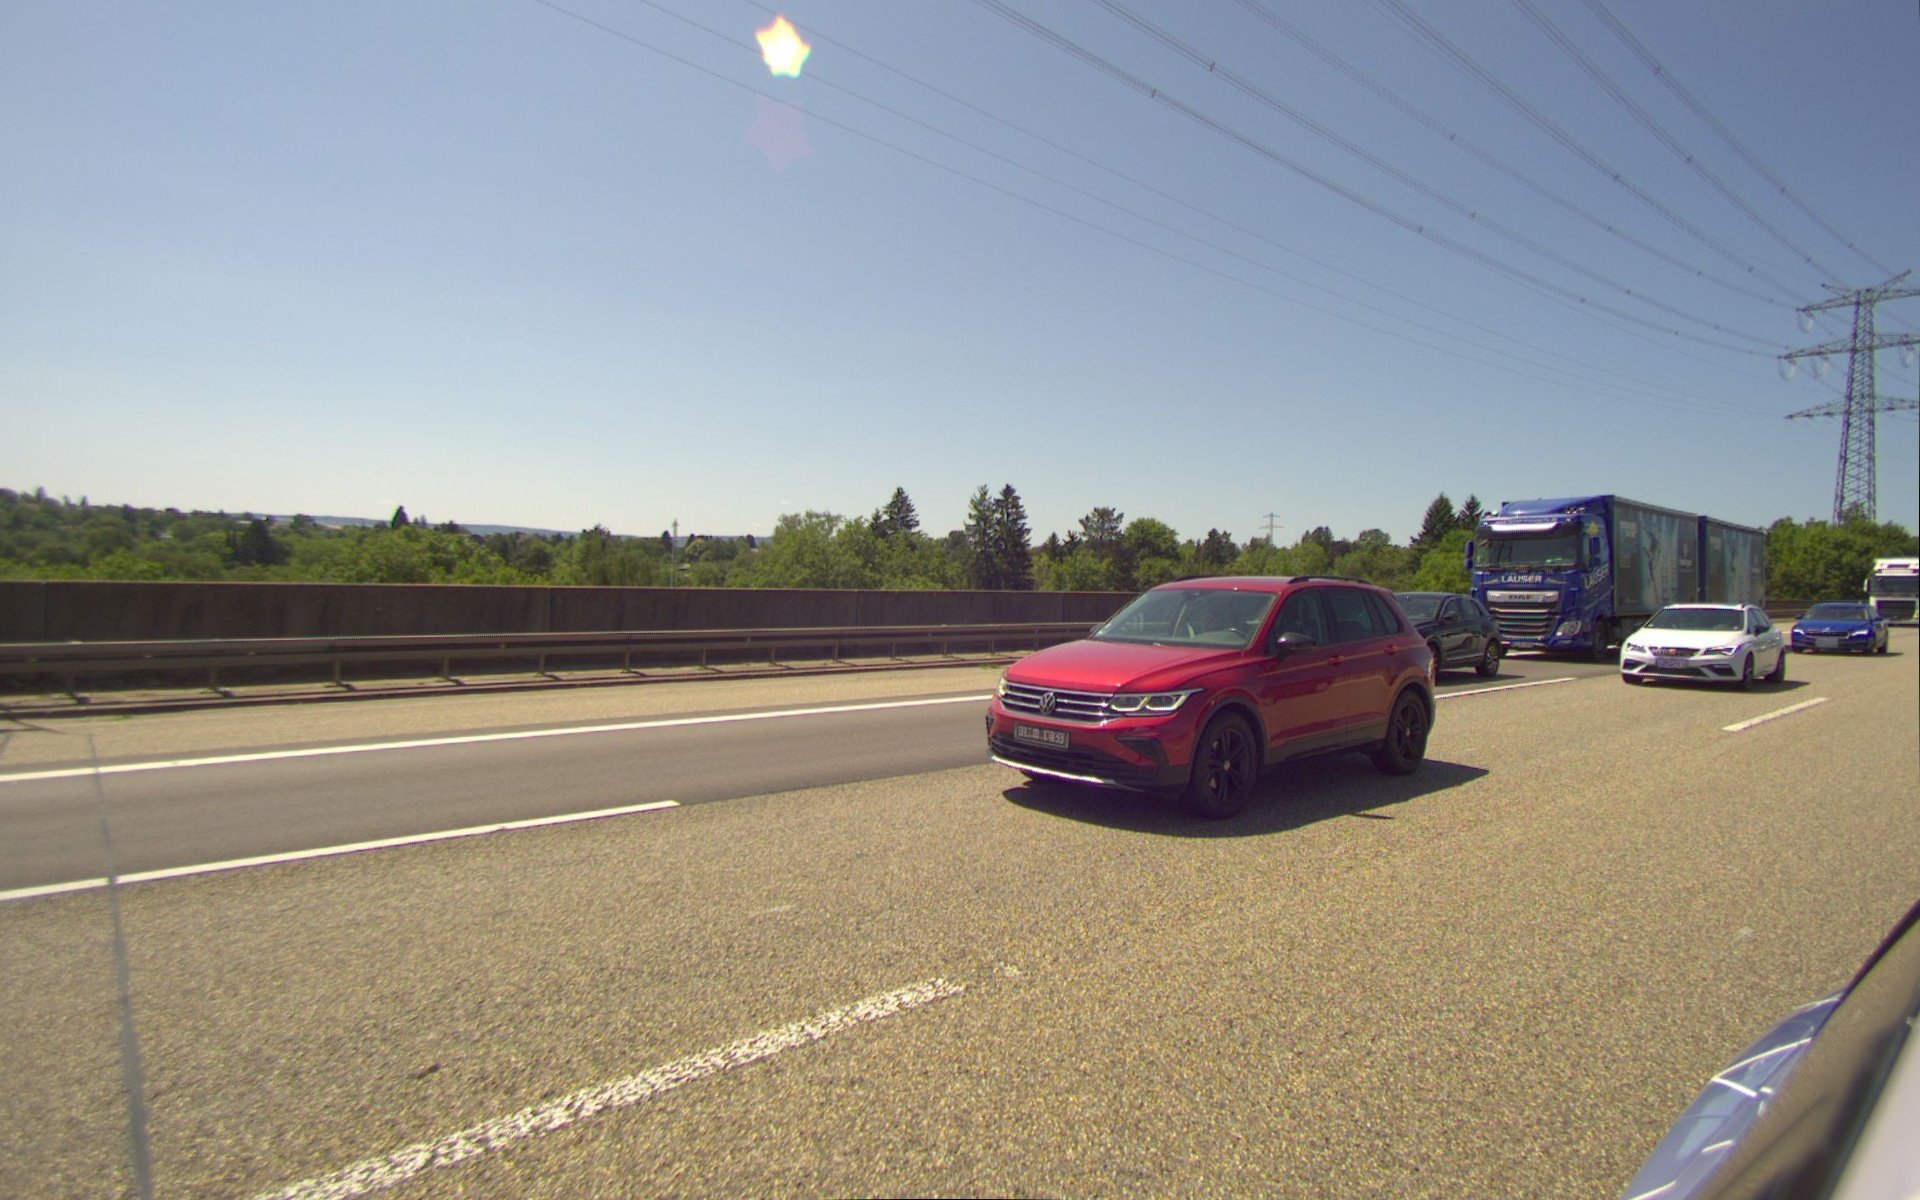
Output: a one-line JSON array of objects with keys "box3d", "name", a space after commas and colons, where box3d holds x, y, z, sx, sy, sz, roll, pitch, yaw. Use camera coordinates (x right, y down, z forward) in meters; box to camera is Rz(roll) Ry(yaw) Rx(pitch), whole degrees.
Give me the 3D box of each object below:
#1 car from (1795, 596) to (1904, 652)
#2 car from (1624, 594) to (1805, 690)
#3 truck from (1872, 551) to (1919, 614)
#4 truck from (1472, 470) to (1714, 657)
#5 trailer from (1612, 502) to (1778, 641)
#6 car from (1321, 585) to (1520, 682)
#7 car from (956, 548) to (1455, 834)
[{"box3d": [25.564, 0.639, 29.046, 4.135, 1.463, 1.739, 0, 1, -40], "name": "car"}, {"box3d": [13.356, 0.642, 17.836, 4.003, 1.508, 1.841, 0, 0, -42], "name": "car"}, {"box3d": [58.399, -1.048, 61.585, 10.776, 3.604, 2.982, 0, 0, -41], "name": "truck"}, {"box3d": [16.985, -0.858, 26.692, 10.265, 4.117, 2.527, 0, 1, -41], "name": "truck"}, {"box3d": [23.986, -0.821, 32.841, 8.331, 3.995, 2.570, 0, 0, -41], "name": "trailer"}, {"box3d": [8.322, 0.521, 18.151, 4.034, 1.546, 1.739, 0, 0, -41], "name": "car"}, {"box3d": [2.112, 0.518, 7.993, 4.151, 1.683, 1.778, 0, 1, -41], "name": "car"}]
